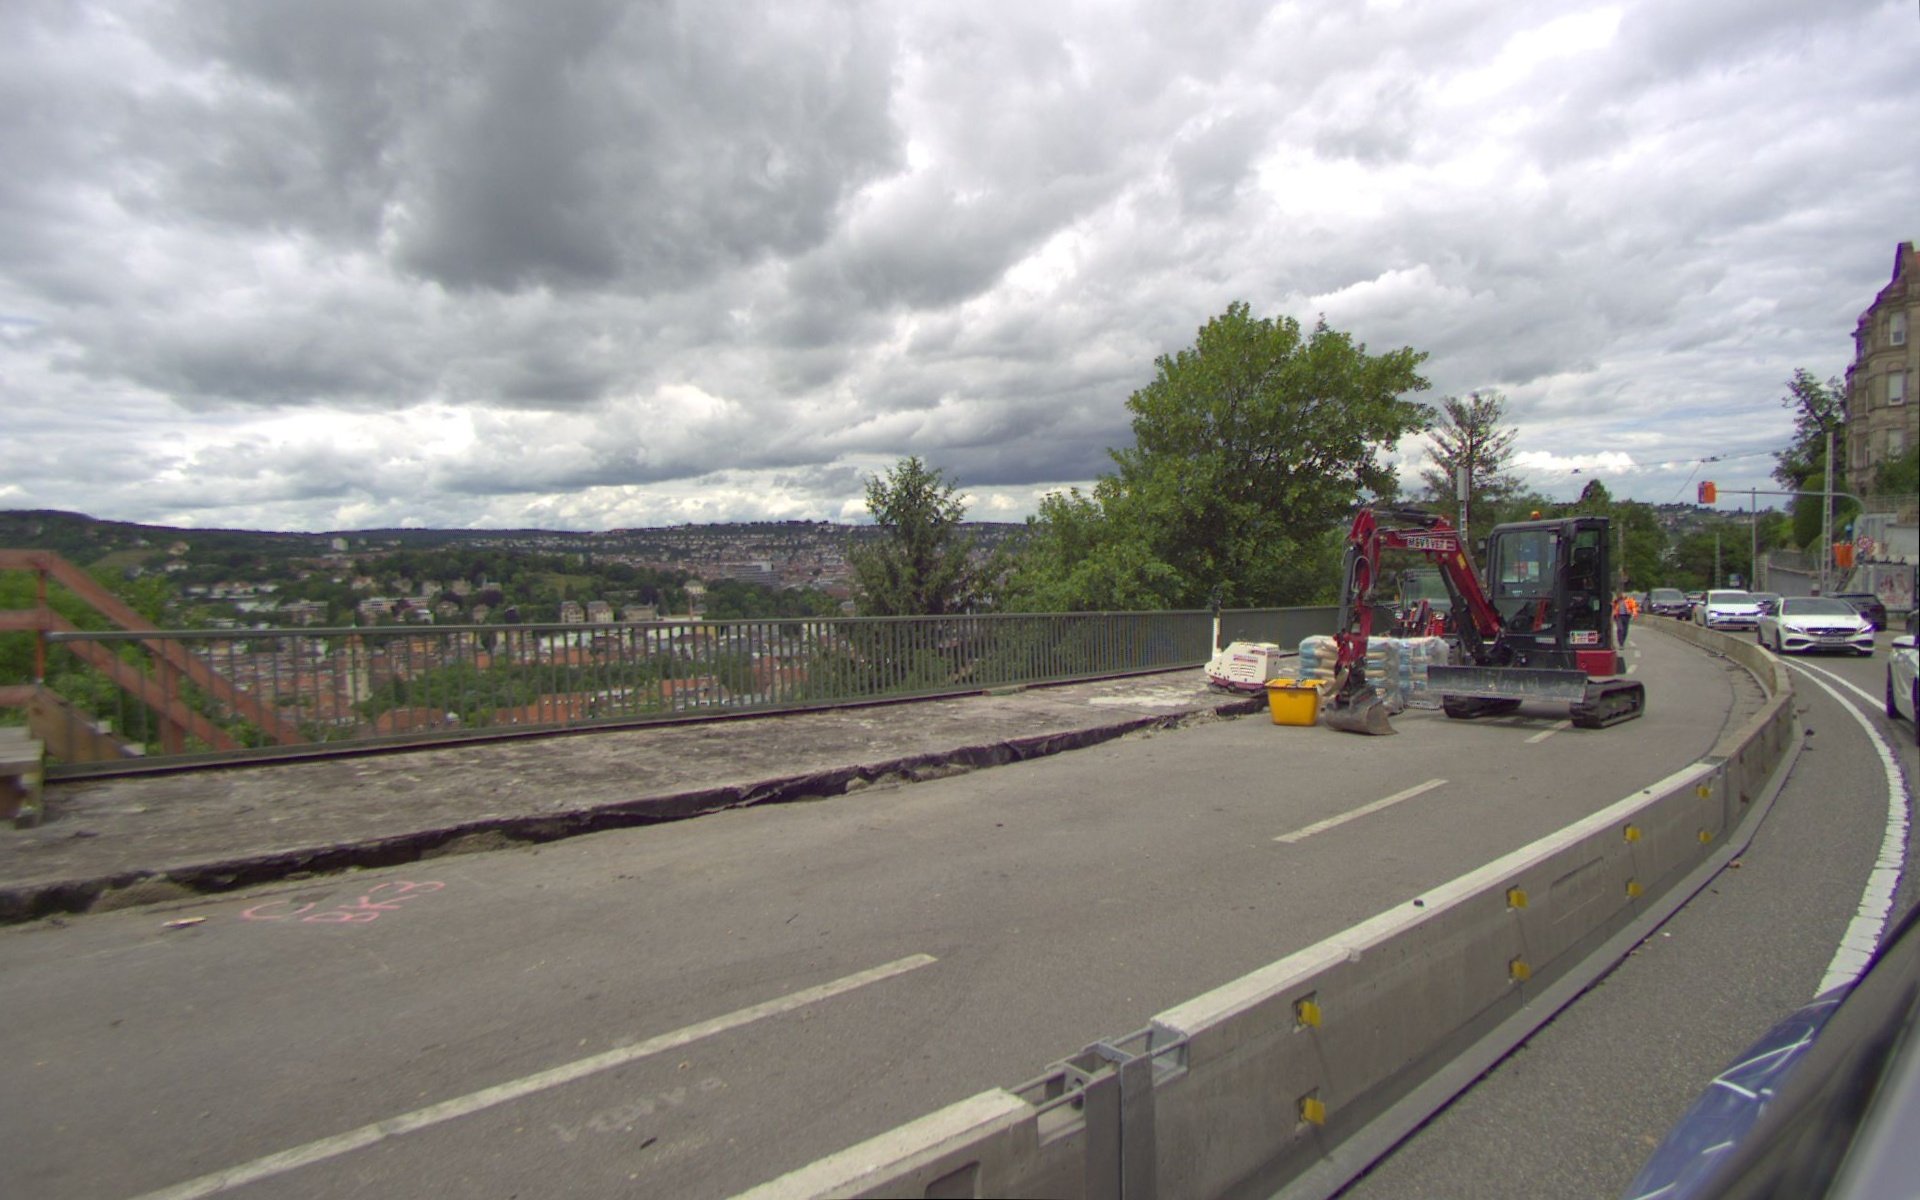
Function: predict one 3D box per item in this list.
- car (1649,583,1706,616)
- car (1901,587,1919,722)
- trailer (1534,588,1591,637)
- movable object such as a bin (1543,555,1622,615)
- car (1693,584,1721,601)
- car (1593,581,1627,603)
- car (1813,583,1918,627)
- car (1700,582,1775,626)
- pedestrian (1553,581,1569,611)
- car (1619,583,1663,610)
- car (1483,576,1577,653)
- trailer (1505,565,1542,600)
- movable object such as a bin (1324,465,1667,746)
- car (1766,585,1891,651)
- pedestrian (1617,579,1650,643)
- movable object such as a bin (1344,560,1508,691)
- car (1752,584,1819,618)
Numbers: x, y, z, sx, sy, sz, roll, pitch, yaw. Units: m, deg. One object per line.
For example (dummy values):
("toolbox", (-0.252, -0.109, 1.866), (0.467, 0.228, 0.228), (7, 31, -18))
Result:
("car", (37.275, -0.057, 52.682), (1.783, 1.528, 3.964), (3, 3, 27))
("car", (11.256, 0.601, 10.575), (1.785, 1.499, 4.184), (-1, 0, 39))
("trailer", (19.431, 0.376, 32.604), (1.284, 1.493, 3.587), (-1, 0, 35))
("movable object such as a bin", (34.781, -0.823, 56.798), (2.791, 3.110, 7.756), (-1, 0, 25))
("car", (71.060, -0.701, 96.205), (1.840, 1.620, 4.201), (0, 0, 41))
("car", (50.407, -0.654, 78.567), (1.783, 1.528, 3.963), (3, 3, 27))
("car", (33.091, 0.143, 37.107), (1.784, 1.464, 4.322), (0, 1, 27))
("car", (29.942, 0.119, 39.098), (1.779, 1.570, 4.199), (1, 1, 30))
("pedestrian", (35.923, -0.249, 60.499), (0.682, 1.818, 0.537), (0, -1, 17))
("car", (42.699, -0.280, 63.552), (1.783, 1.528, 3.963), (3, 3, 27))
("car", (14.773, 0.323, 26.144), (1.825, 1.802, 4.217), (0, 0, 33))
("trailer", (42.994, -1.342, 77.140), (2.098, 2.581, 5.059), (2, 2, 33))
("movable object such as a bin", (6.604, 0.034, 12.201), (4.862, 2.696, 2.213), (-1, 0, -44))
("car", (21.642, 0.395, 25.389), (1.780, 1.499, 4.195), (-1, 0, 33))
("pedestrian", (18.472, 0.296, 27.763), (0.641, 1.723, 0.841), (-2, -1, 29))
("movable object such as a bin", (8.061, 0.369, 17.318), (1.697, 1.967, 4.109), (-1, 0, 37))
("car", (39.429, 0.013, 48.416), (1.786, 1.501, 4.283), (-2, 0, 30))
